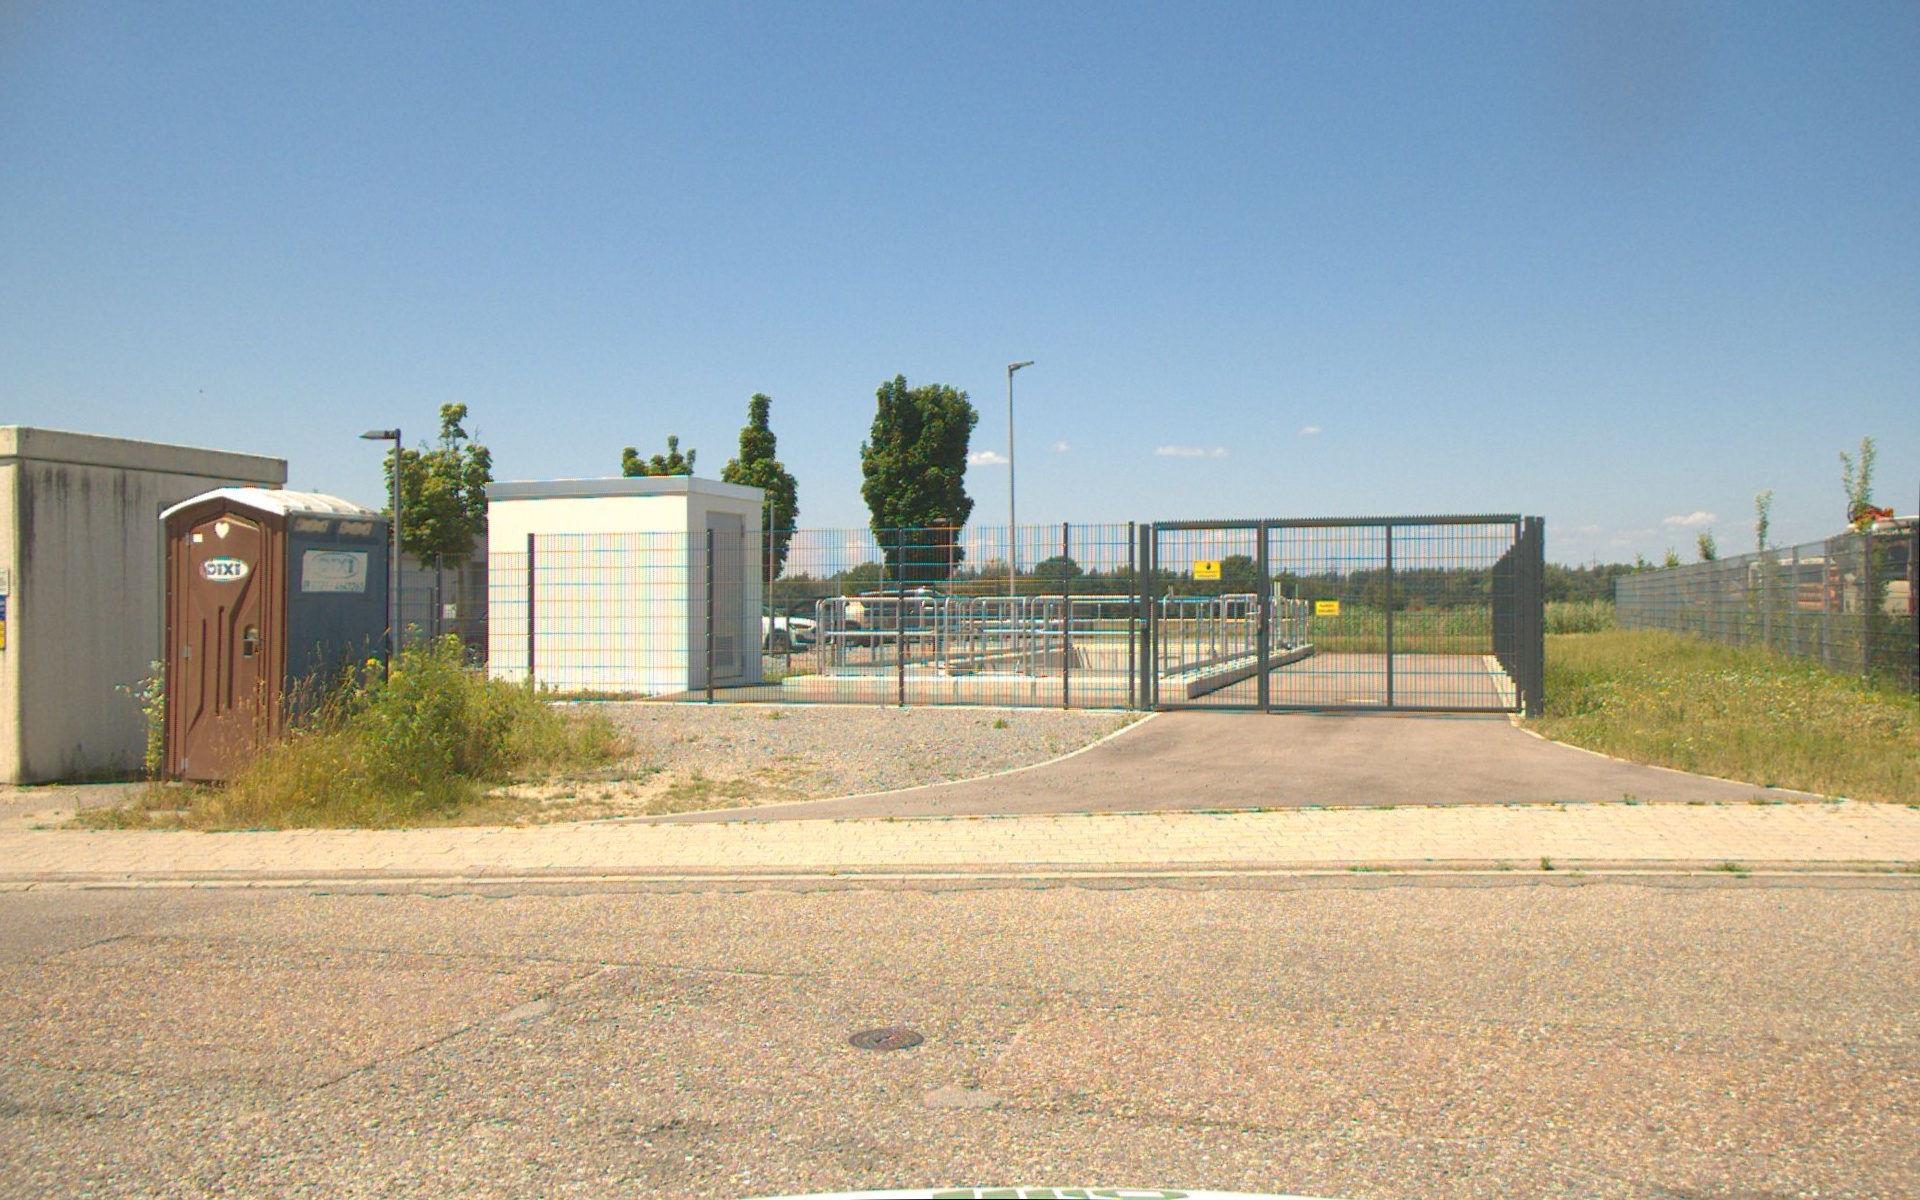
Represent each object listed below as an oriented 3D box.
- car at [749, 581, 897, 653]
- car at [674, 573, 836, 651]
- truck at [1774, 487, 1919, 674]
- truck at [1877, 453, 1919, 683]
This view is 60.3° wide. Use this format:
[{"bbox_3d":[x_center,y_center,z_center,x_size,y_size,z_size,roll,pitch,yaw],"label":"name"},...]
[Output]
[{"bbox_3d":[-4.038,0.509,48.974,3.903,2.049,2.001,-1,0,18],"label":"car"},{"bbox_3d":[-5.587,0.320,45.218,3.903,2.049,2.001,-1,0,18],"label":"car"},{"bbox_3d":[16.775,-0.313,29.614,2.860,2.989,6.939,-1,0,17],"label":"truck"},{"bbox_3d":[14.015,-0.447,21.073,2.669,3.115,6.939,-1,0,17],"label":"truck"}]
